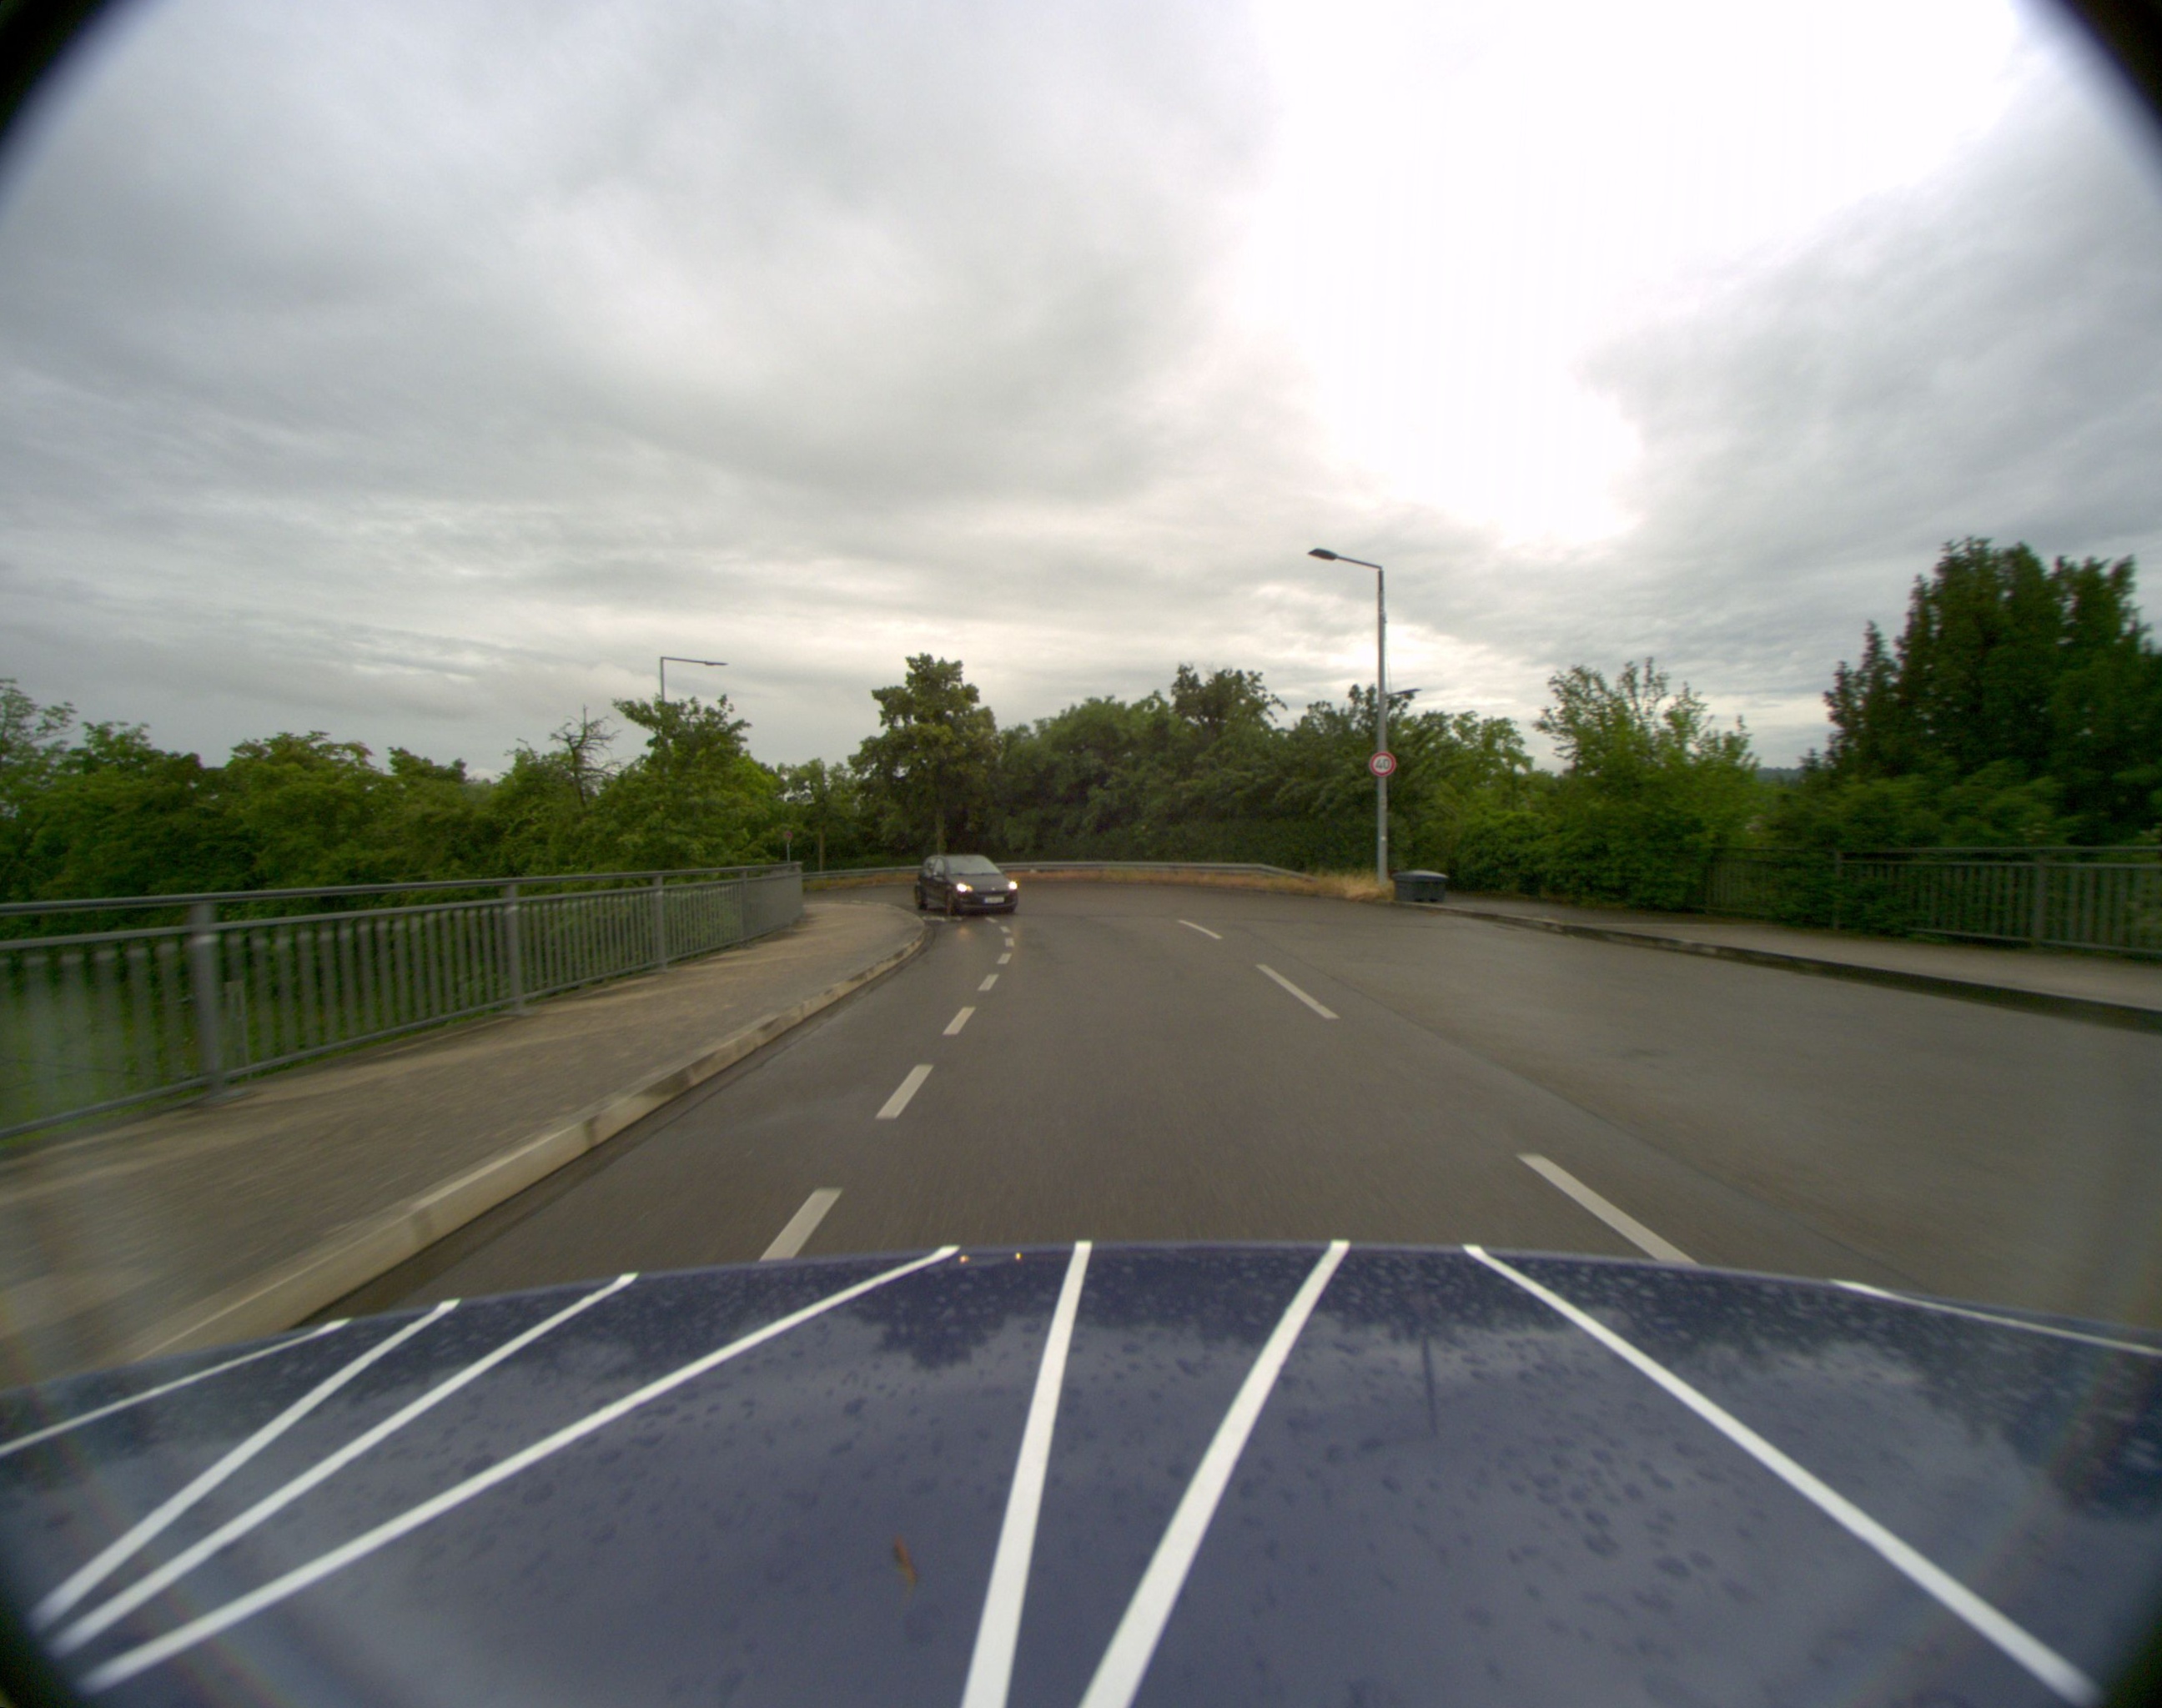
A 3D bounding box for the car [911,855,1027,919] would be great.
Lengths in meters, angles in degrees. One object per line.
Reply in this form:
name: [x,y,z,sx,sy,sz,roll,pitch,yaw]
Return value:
car: [-2.929,0.754,19.321,1.684,1.405,3.628,-2,1,-29]
